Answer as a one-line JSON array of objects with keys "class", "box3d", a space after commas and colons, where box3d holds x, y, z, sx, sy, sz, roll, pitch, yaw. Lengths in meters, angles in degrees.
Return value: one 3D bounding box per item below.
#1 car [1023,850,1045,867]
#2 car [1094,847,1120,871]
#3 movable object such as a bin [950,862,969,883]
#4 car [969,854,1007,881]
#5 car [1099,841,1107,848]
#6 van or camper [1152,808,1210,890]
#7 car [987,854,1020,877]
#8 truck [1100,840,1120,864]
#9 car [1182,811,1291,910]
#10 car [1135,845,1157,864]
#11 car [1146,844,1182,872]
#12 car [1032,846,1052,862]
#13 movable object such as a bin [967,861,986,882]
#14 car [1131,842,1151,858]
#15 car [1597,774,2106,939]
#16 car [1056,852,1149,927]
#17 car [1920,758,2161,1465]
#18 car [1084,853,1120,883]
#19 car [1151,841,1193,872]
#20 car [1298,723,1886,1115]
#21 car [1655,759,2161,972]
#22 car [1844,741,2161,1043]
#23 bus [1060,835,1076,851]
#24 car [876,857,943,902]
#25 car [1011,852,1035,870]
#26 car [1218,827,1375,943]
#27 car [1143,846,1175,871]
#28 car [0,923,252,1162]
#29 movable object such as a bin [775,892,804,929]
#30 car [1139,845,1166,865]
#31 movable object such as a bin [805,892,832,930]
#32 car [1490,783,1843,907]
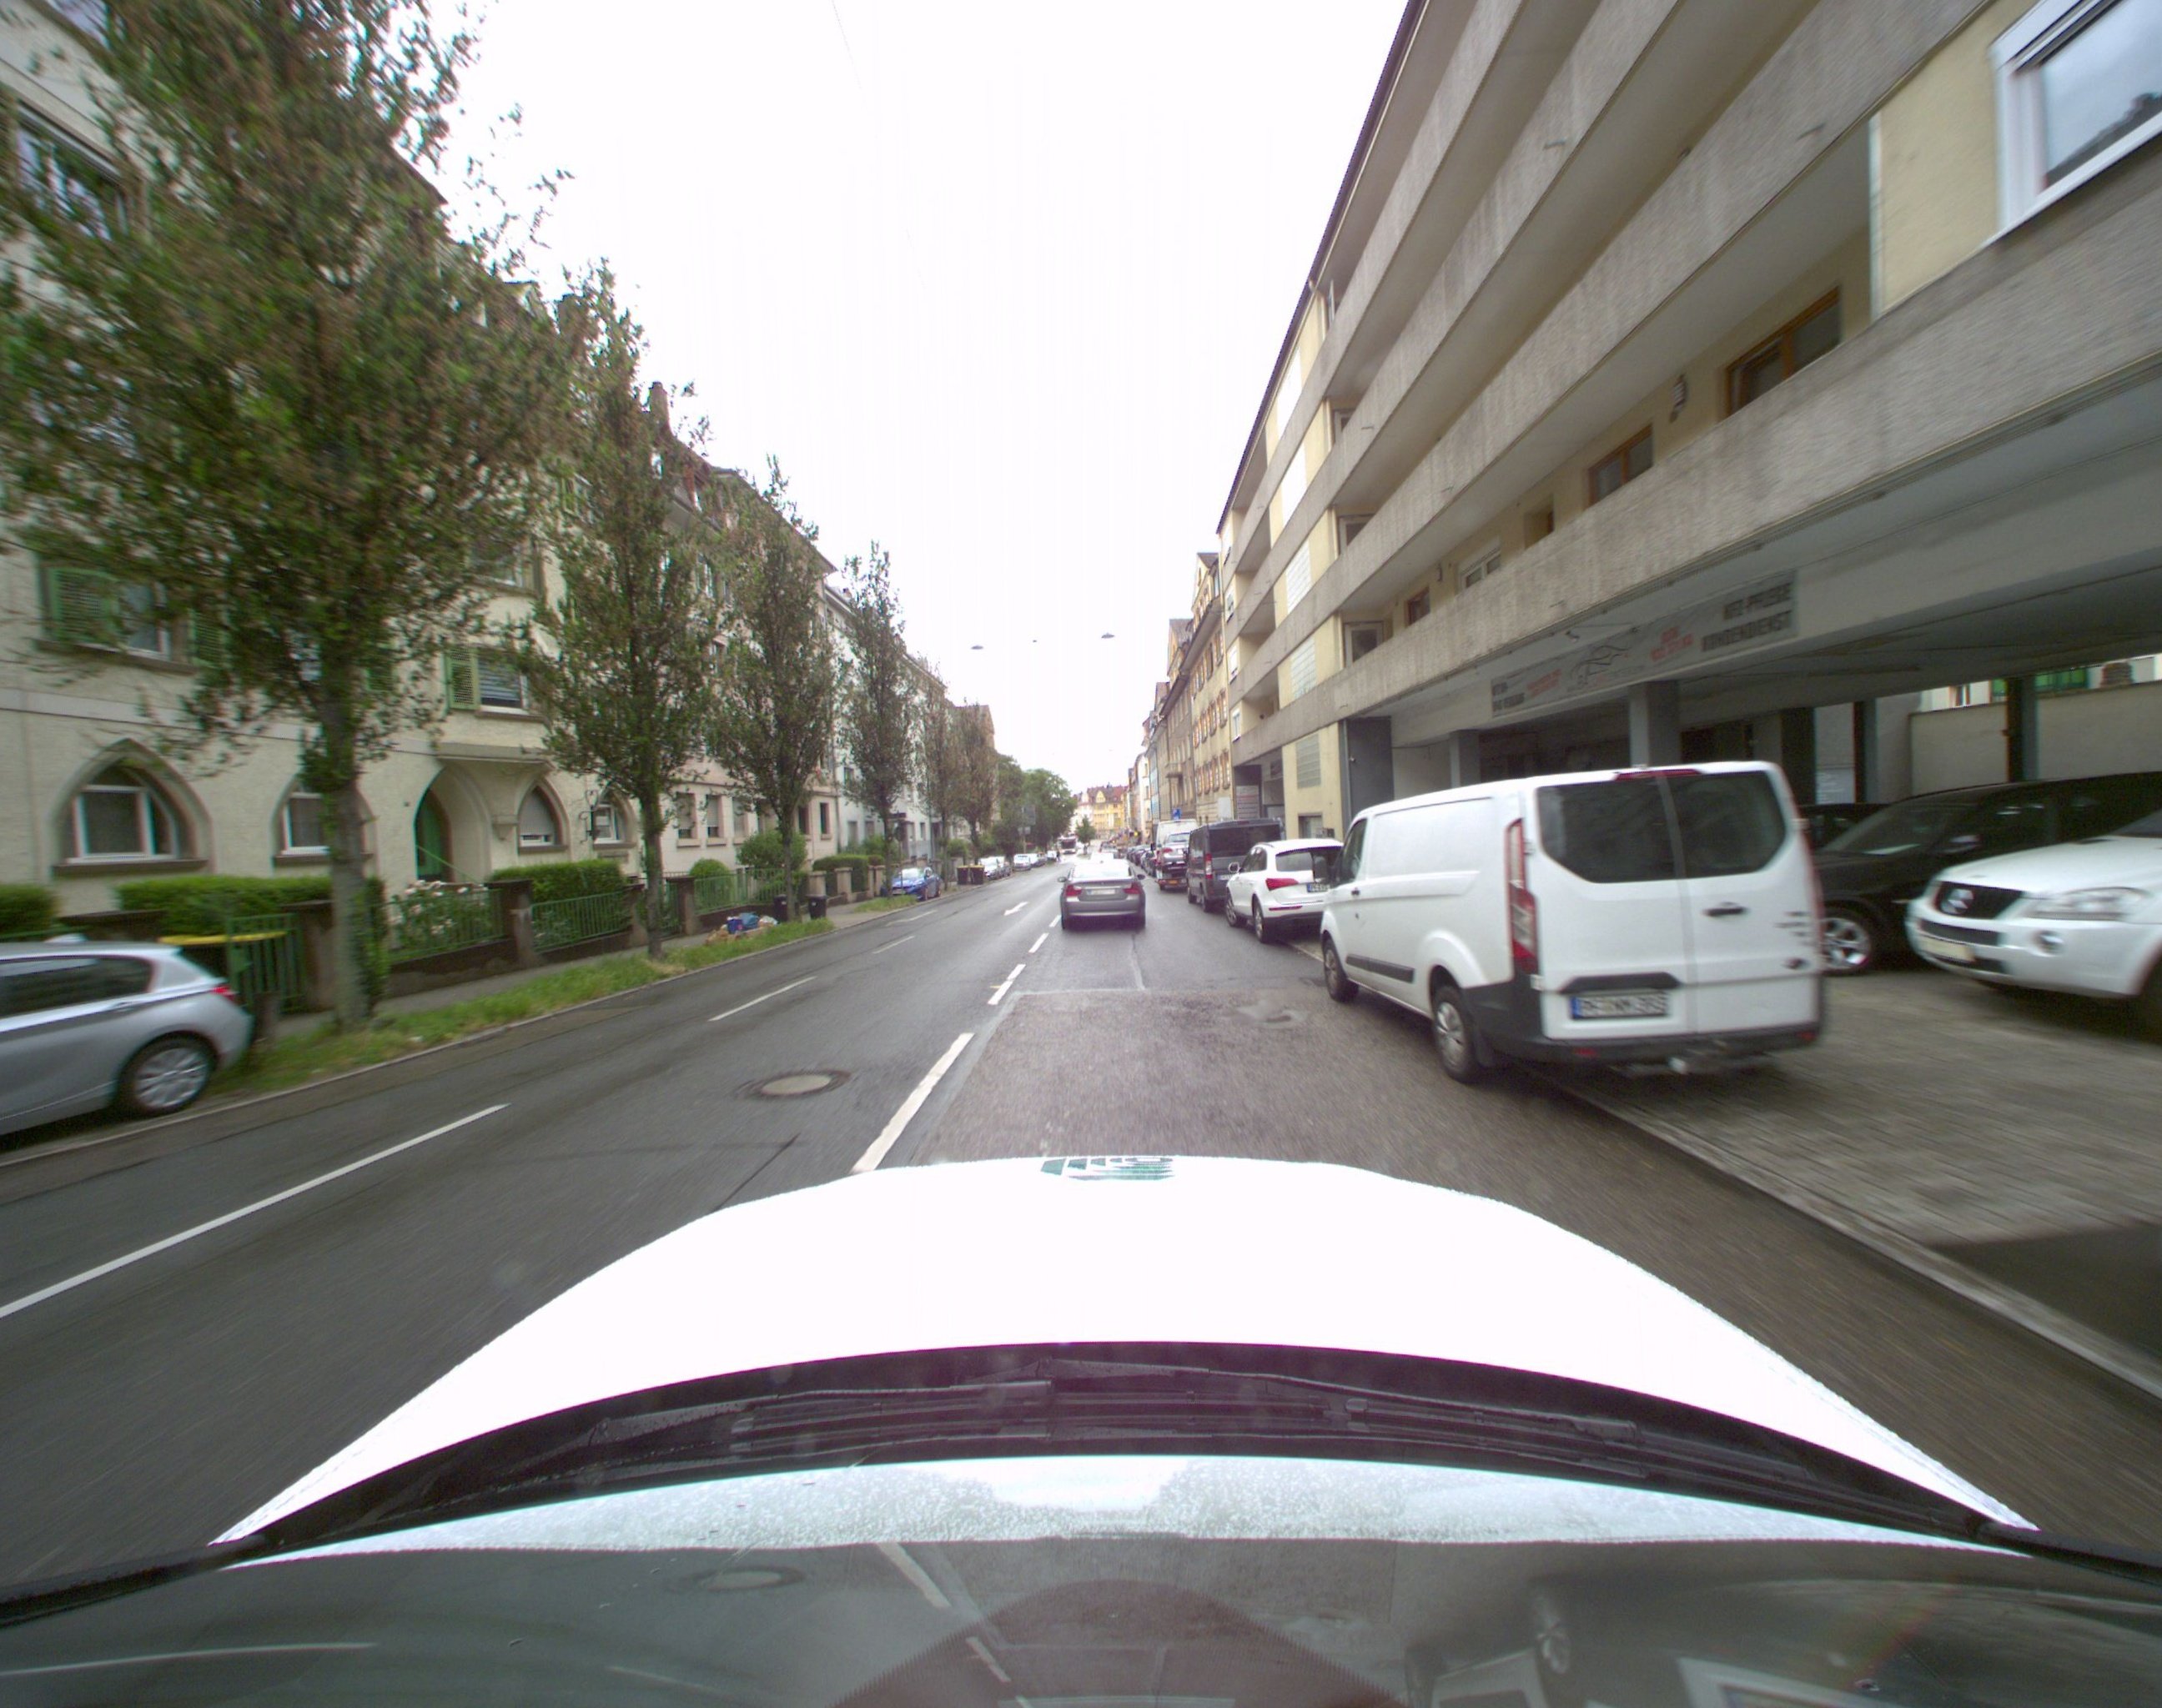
[{"class": "car", "box3d": [-4.790, 0.475, 83.168, 1.684, 1.523, 3.739, -5, 0, 3]}, {"class": "car", "box3d": [1.713, 0.316, 54.265, 1.691, 1.483, 3.794, -2, 0, 1]}, {"class": "movable object such as a bin", "box3d": [-7.095, 1.097, 47.663, 0.898, 1.168, 0.895, -2, 0, 1]}, {"class": "car", "box3d": [-6.230, 0.876, 55.062, 1.820, 1.523, 3.739, -5, 0, 3]}, {"class": "car", "box3d": [4.875, -2.132, 179.265, 1.691, 1.483, 3.794, -4, 0, 1]}, {"class": "van or camper", "box3d": [3.843, -0.215, 32.001, 2.023, 2.868, 6.896, 0, 1, 5]}, {"class": "car", "box3d": [-5.880, 0.874, 62.196, 1.820, 1.523, 3.739, -5, 0, 3]}, {"class": "truck", "box3d": [3.165, -0.216, 88.748, 2.025, 2.412, 4.828, -2, 0, 1]}, {"class": "car", "box3d": [3.936, 0.138, 21.453, 1.974, 2.165, 4.752, -4, 0, 2]}, {"class": "car", "box3d": [5.584, 0.052, 70.359, 1.691, 1.483, 3.976, -2, 0, 1]}, {"class": "car", "box3d": [4.638, 0.202, 45.962, 1.691, 1.483, 3.976, -2, 0, 1]}, {"class": "car", "box3d": [-4.246, -0.012, 88.448, 1.684, 1.523, 3.739, -5, 0, 3]}, {"class": "movable object such as a bin", "box3d": [-6.106, 1.042, 47.643, 0.931, 1.168, 0.910, -2, 0, 1]}, {"class": "car", "box3d": [5.840, -0.359, 79.861, 1.691, 1.483, 3.976, -2, 0, 1]}, {"class": "car", "box3d": [9.049, 0.043, 9.992, 4.256, 1.640, 1.673, -3, 2, 14]}, {"class": "car", "box3d": [0.512, 0.696, 17.730, 1.762, 1.428, 3.744, -2, 0, 3]}, {"class": "car", "box3d": [3.294, 0.553, 0.205, 1.720, 1.670, 4.290, -5, 0, 2]}, {"class": "car", "box3d": [1.083, 0.679, 41.206, 1.675, 1.428, 3.744, -2, 0, 3]}, {"class": "car", "box3d": [4.525, 0.124, 40.867, 1.691, 1.483, 3.794, -2, 0, 1]}, {"class": "car", "box3d": [3.400, 0.343, 6.759, 1.974, 2.007, 4.627, -4, 0, 2]}, {"class": "car", "box3d": [8.454, 0.066, 7.893, 4.294, 1.726, 1.917, -3, 2, 14]}, {"class": "car", "box3d": [8.237, 0.107, 5.308, 4.290, 1.804, 2.017, -3, 2, 19]}, {"class": "bus", "box3d": [-2.607, -2.169, 162.840, 2.658, 3.024, 7.674, -4, 0, 2]}, {"class": "car", "box3d": [-7.014, 1.003, 33.710, 1.761, 1.593, 4.000, -5, 0, 1]}, {"class": "car", "box3d": [-5.345, 0.633, 75.648, 1.684, 1.523, 3.739, -5, 0, 3]}, {"class": "car", "box3d": [3.693, 0.469, 14.726, 1.719, 1.670, 4.290, -4, 0, 2]}, {"class": "car", "box3d": [4.872, 0.287, 51.448, 1.691, 1.483, 3.976, -2, 0, 1]}, {"class": "car", "box3d": [-8.164, 1.347, 5.113, 1.719, 1.484, 3.992, -1, 0, 3]}, {"class": "movable object such as a bin", "box3d": [-7.676, 1.483, 21.466, 0.575, 0.912, 0.637, -4, 0, -13]}, {"class": "car", "box3d": [5.399, 0.080, 61.854, 1.691, 1.483, 3.976, -2, 0, 1]}, {"class": "movable object such as a bin", "box3d": [-6.936, 1.492, 21.533, 0.575, 0.912, 0.637, -4, 0, -13]}, {"class": "car", "box3d": [9.140, -0.133, 13.104, 4.256, 1.640, 1.673, -3, 2, 14]}]
